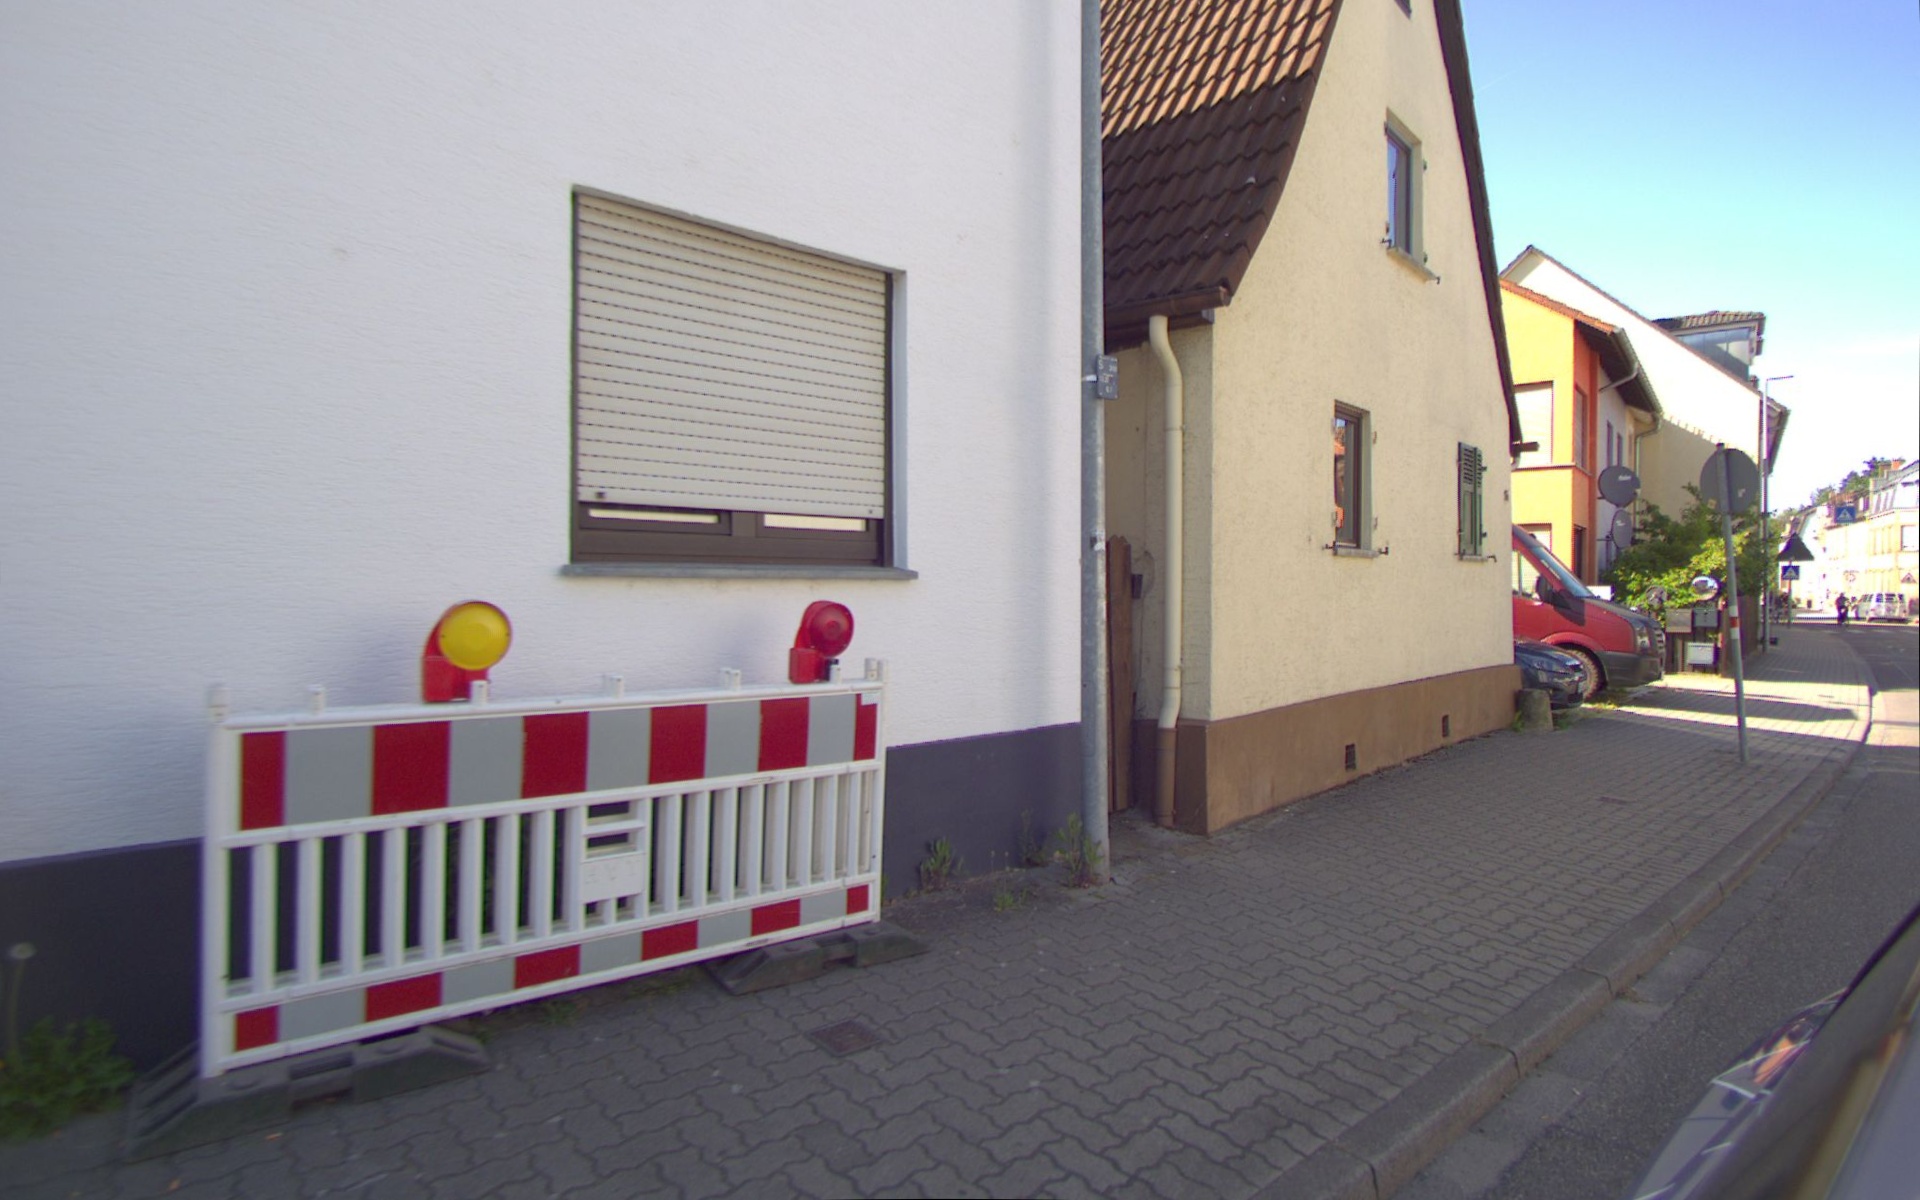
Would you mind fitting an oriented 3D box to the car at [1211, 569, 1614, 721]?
[{"bbox_3d":[5.655,0.421,13.002,4.371,1.505,1.813,4,4,41],"label":"car"}]

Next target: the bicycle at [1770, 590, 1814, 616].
[{"bbox_3d":[54.630,0.179,66.475,1.244,1.571,3.965,-2,0,25],"label":"bicycle"}]

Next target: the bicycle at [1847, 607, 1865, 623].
[{"bbox_3d":[49.077,0.810,55.434,0.621,0.789,1.887,-2,0,38],"label":"bicycle"}]

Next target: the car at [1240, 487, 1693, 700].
[{"bbox_3d":[7.418,-0.243,15.317,5.795,2.687,1.940,3,3,39],"label":"car"}]

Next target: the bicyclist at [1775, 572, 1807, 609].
[{"bbox_3d":[54.693,-0.629,66.615,1.245,2.337,1.232,-2,-1,26],"label":"bicyclist"}]

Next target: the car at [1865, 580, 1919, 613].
[{"bbox_3d":[58.369,-0.254,63.188,1.867,1.904,4.782,2,2,31],"label":"car"}]

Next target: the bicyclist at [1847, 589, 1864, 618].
[{"bbox_3d":[49.114,0.189,55.518,0.607,1.553,0.646,-3,-1,39],"label":"bicyclist"}]
